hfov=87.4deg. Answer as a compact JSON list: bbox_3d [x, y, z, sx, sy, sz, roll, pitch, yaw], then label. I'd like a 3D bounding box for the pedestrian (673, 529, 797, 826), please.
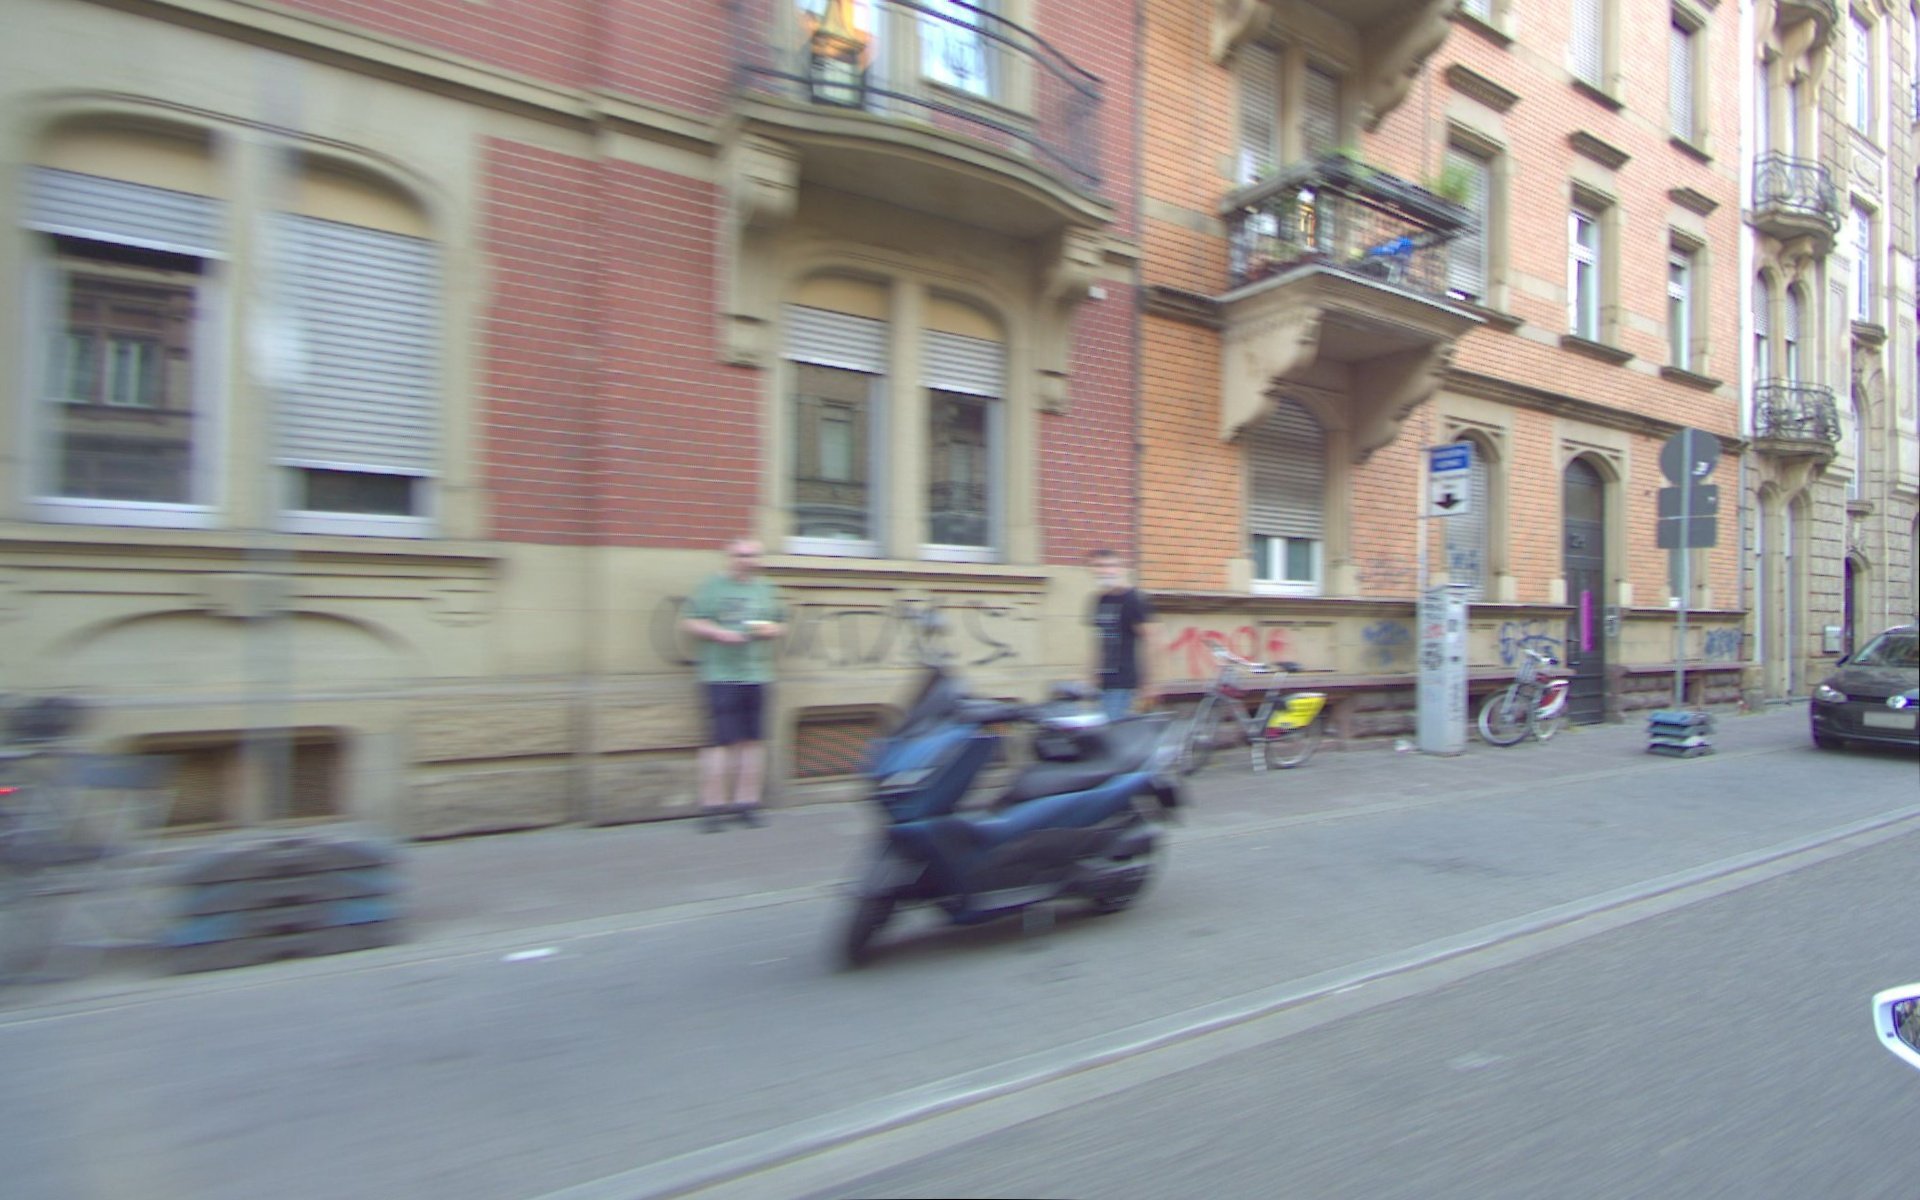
[{"bbox_3d":[-1.457,0.479,6.492,0.634,1.813,0.461,2,0,-29],"label":"pedestrian"}]

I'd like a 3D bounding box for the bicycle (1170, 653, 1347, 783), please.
[{"bbox_3d":[2.652,0.999,8.853,1.721,1.043,0.445,2,0,-32],"label":"bicycle"}]

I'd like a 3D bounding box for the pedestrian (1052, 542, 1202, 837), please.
[{"bbox_3d":[1.154,0.556,6.824,0.672,1.834,0.960,2,0,29],"label":"pedestrian"}]

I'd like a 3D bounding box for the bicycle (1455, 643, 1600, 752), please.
[{"bbox_3d":[6.541,1.070,11.531,2.008,1.116,0.744,2,0,-39],"label":"bicycle"}]

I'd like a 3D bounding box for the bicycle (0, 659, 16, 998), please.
[{"bbox_3d":[-4.030,0.771,2.906,1.817,1.175,0.409,2,0,-32],"label":"bicycle"}]

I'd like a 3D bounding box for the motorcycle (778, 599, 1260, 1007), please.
[{"bbox_3d":[0.302,0.740,4.315,1.990,1.423,0.681,2,0,-30],"label":"motorcycle"}]

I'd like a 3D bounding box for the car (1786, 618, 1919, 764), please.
[{"bbox_3d":[11.522,0.991,11.742,4.130,1.490,1.825,1,-1,-35],"label":"car"}]

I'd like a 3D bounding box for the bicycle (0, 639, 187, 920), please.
[{"bbox_3d":[-4.472,0.762,4.270,1.817,1.175,0.409,2,0,-32],"label":"bicycle"}]
